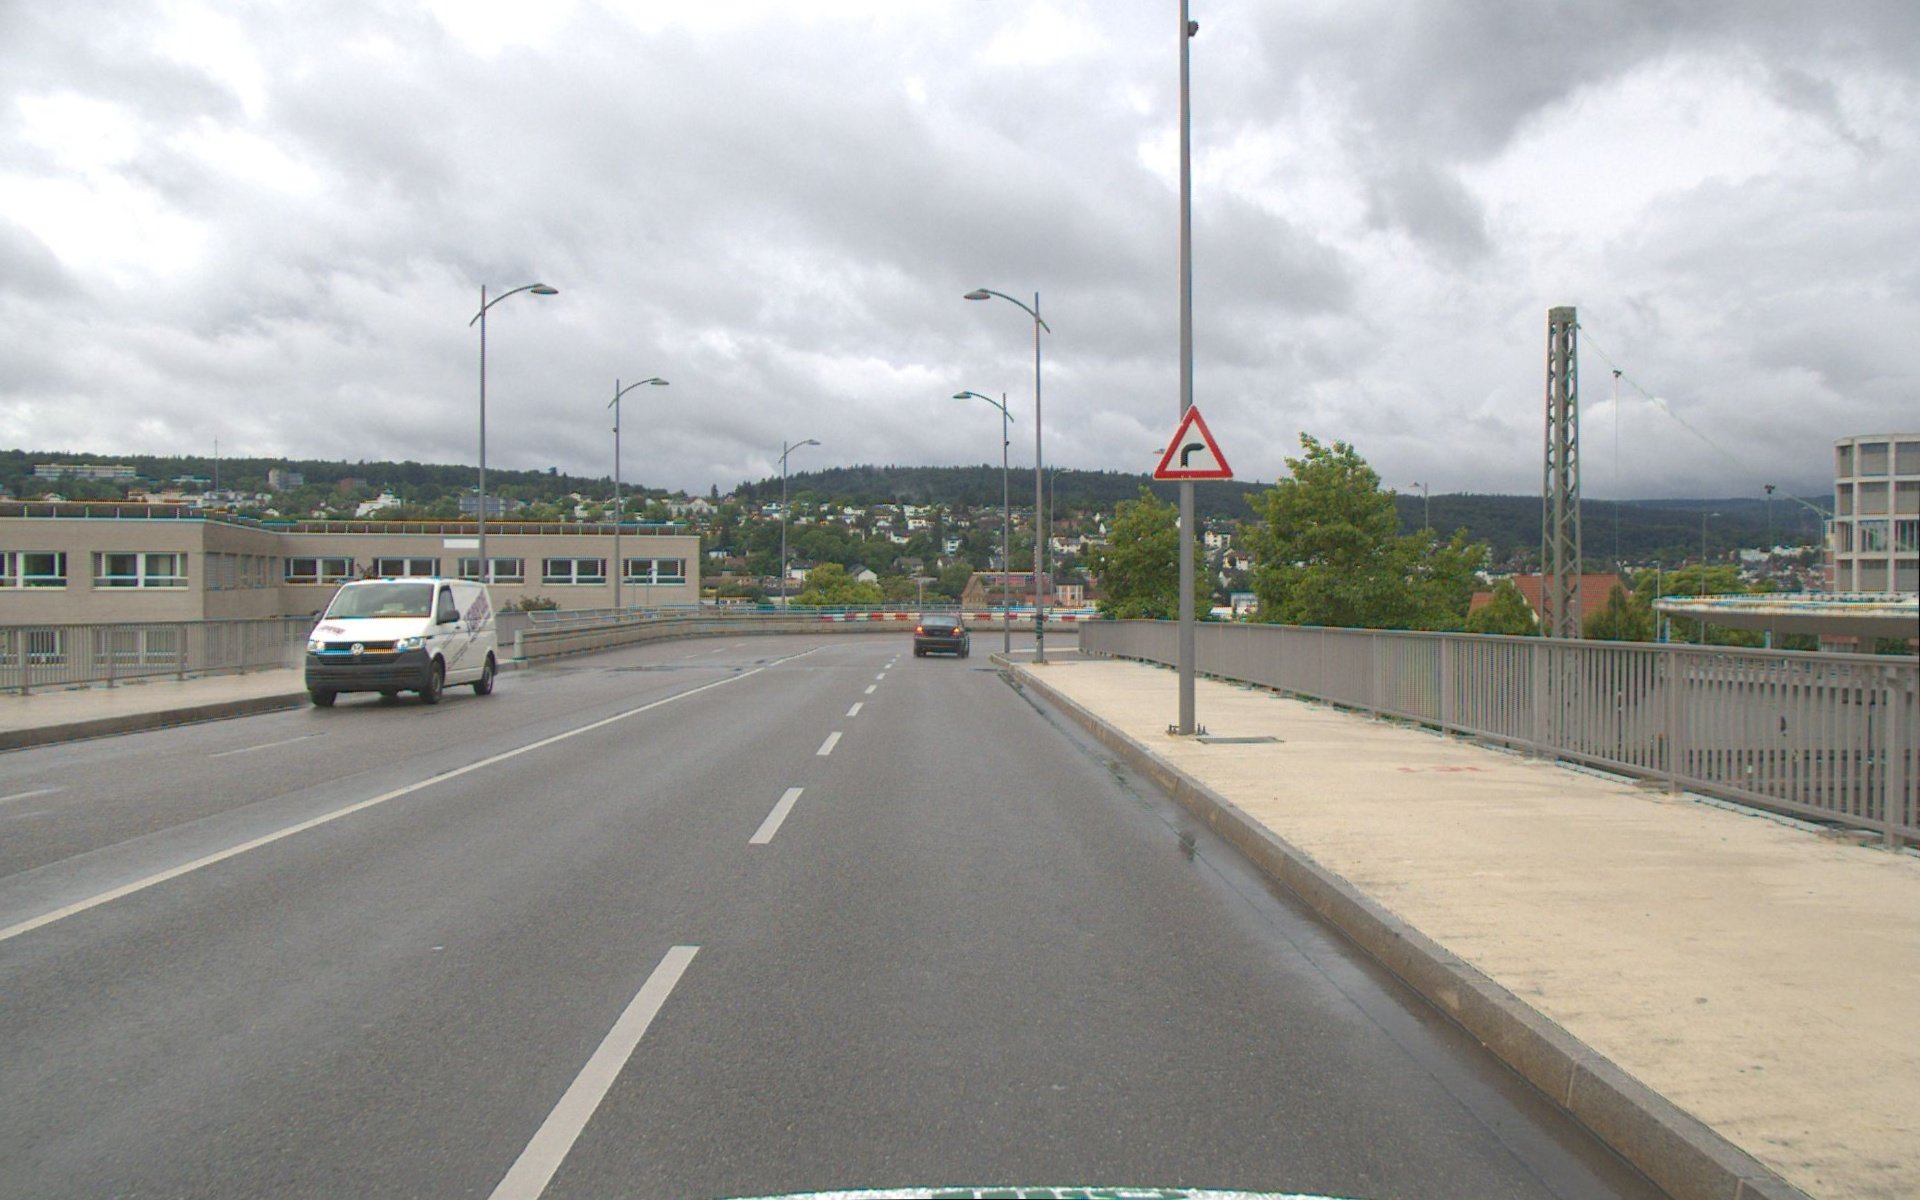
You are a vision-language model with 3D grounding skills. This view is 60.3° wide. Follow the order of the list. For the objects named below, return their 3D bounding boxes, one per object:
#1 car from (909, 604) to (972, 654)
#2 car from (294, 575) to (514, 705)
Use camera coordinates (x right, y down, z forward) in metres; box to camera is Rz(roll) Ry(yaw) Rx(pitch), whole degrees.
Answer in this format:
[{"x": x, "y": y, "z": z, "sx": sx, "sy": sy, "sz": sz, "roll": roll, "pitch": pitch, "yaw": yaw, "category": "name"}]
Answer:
[{"x": -0.595, "y": 0.933, "z": 54.331, "sx": 1.670, "sy": 1.444, "sz": 3.727, "roll": 4, "pitch": 0, "yaw": 4, "category": "car"}, {"x": -8.772, "y": 0.600, "z": 26.586, "sx": 1.848, "sy": 1.854, "sz": 4.957, "roll": 1, "pitch": -1, "yaw": 0, "category": "car"}]
